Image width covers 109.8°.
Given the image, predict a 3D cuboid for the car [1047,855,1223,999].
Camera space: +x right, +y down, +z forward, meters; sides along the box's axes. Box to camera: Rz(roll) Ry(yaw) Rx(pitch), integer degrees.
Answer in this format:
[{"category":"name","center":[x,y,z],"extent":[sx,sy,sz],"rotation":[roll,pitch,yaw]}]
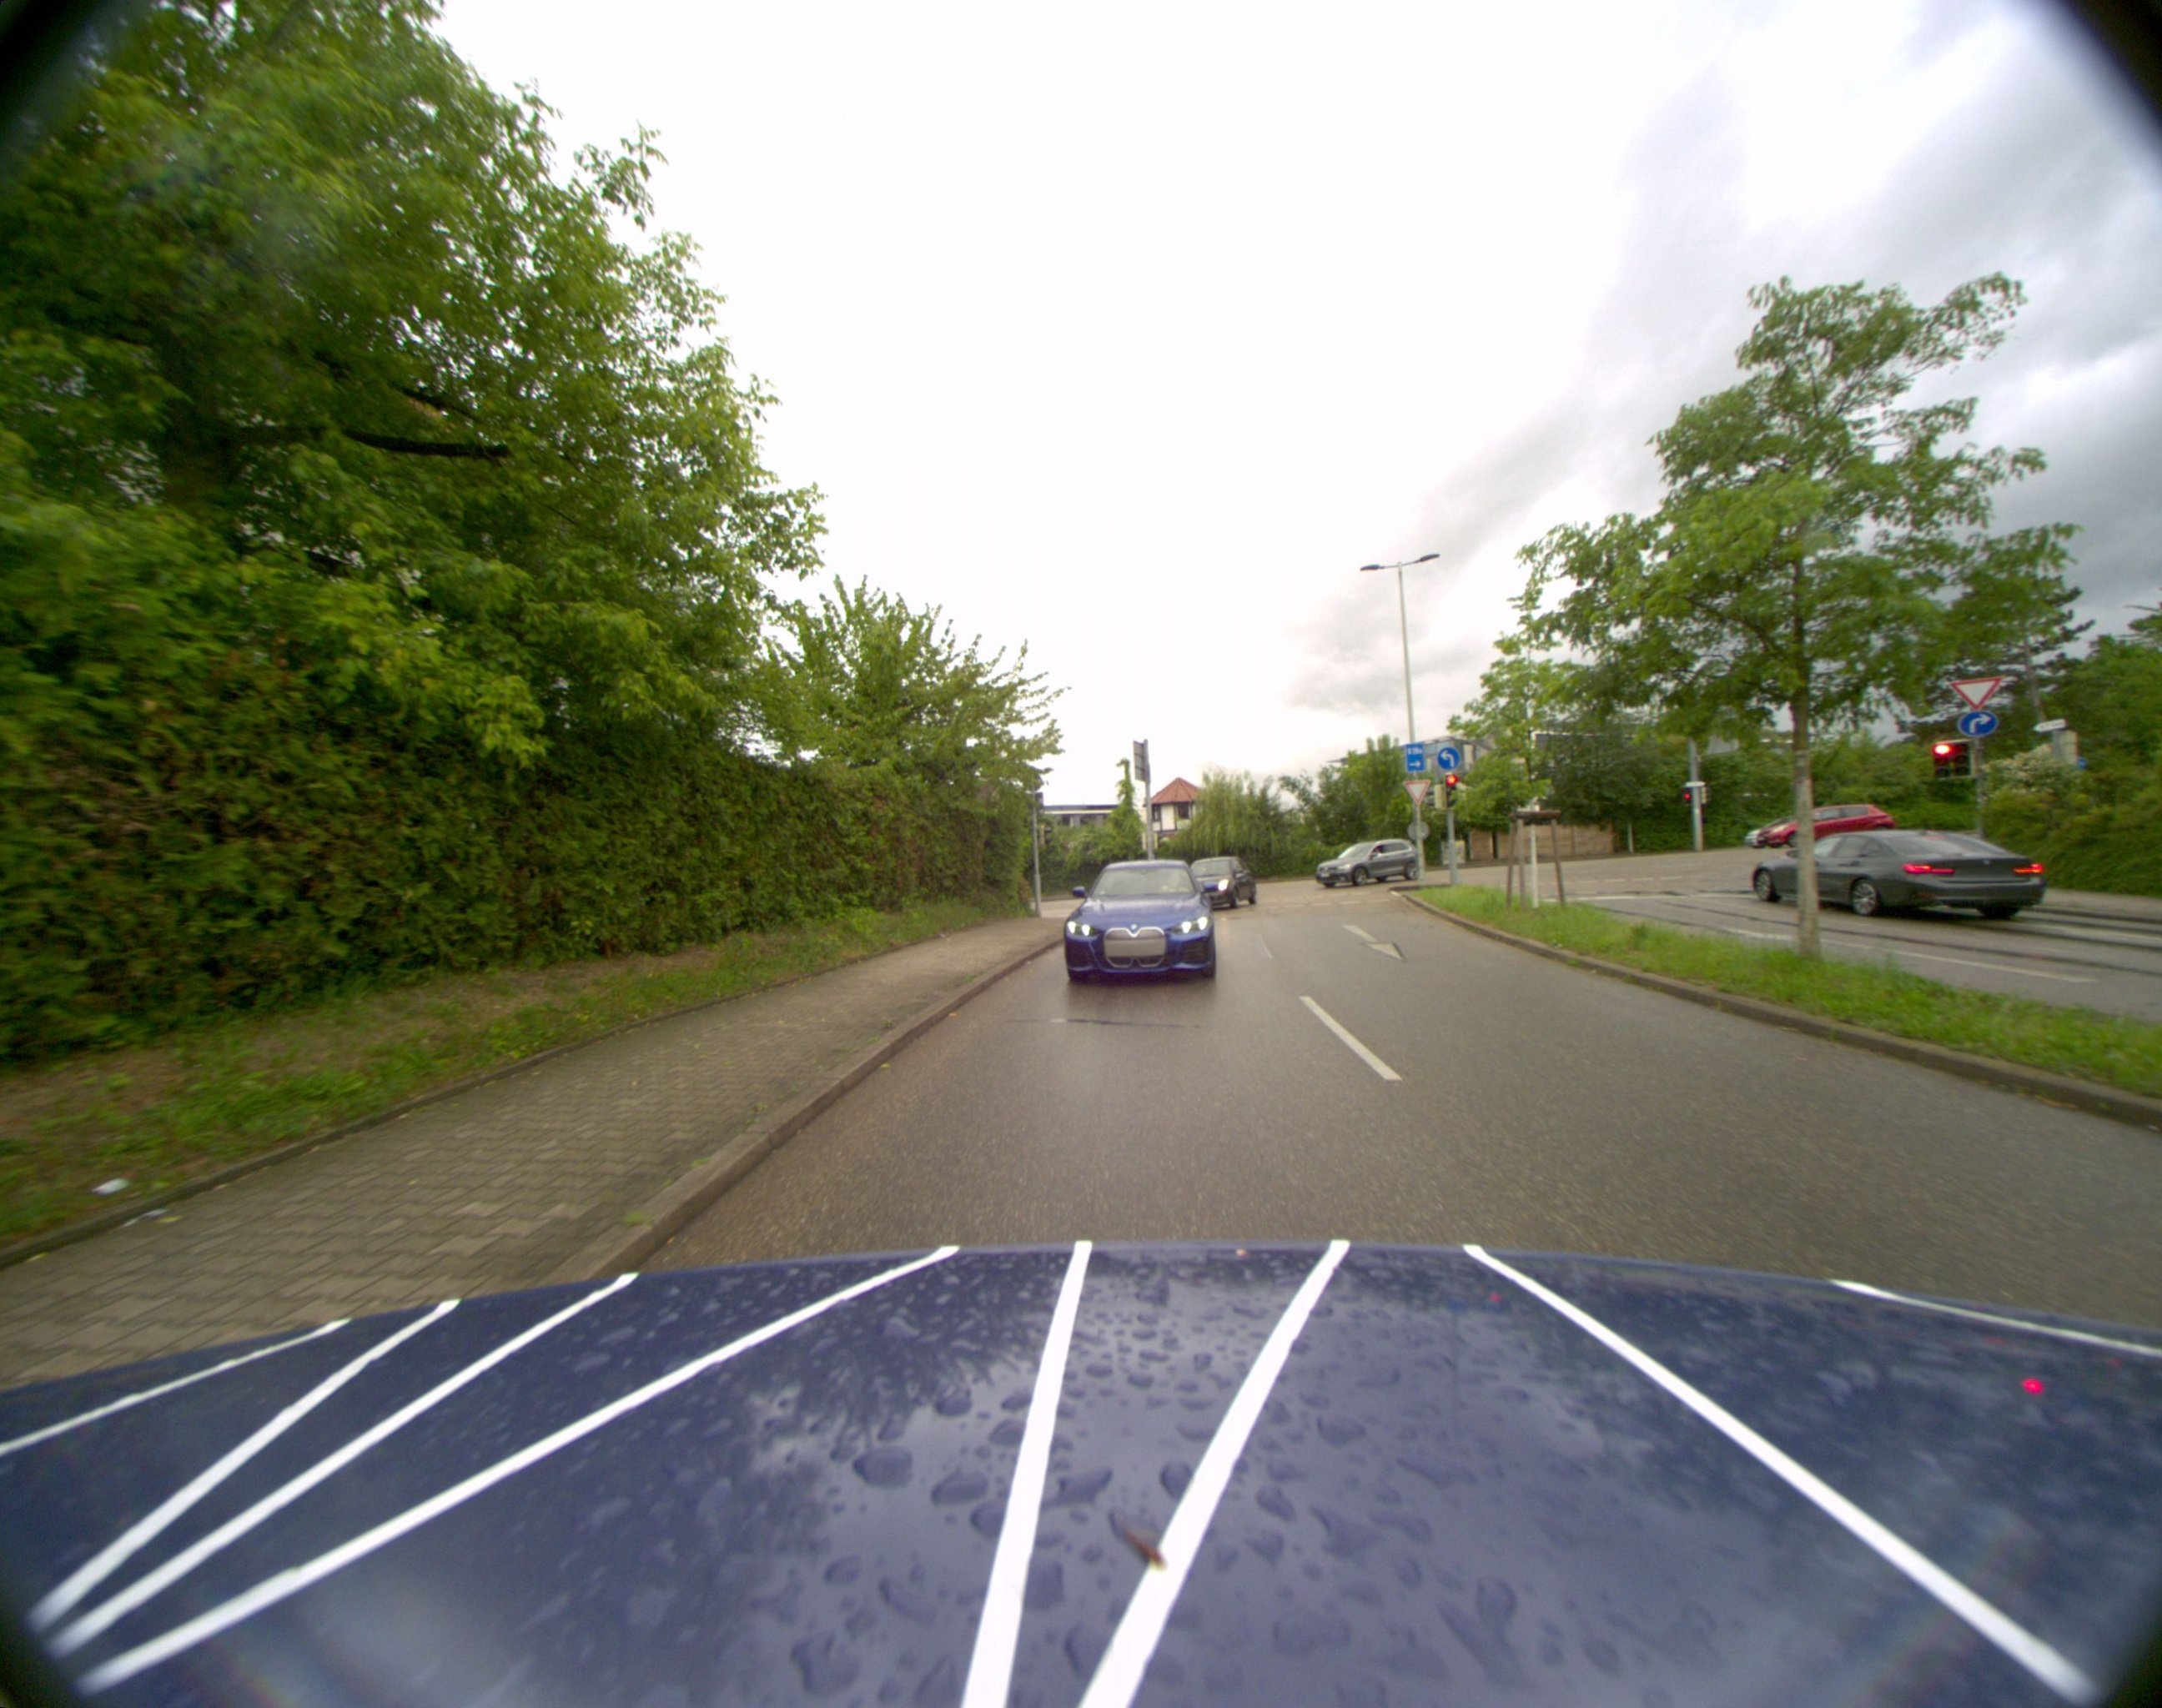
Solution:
[{"category":"car","center":[0.962,0.846,10.794],"extent":[1.912,1.487,4.351],"rotation":[-4,0,10]}]

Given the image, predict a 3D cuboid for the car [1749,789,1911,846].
[{"category":"car","center":[29.237,-1.392,29.818],"extent":[3.992,1.715,1.872],"rotation":[-6,-1,20]}]

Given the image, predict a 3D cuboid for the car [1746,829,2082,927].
[{"category":"car","center":[14.284,0.352,13.531],"extent":[1.996,1.429,4.554],"rotation":[0,0,17]}]

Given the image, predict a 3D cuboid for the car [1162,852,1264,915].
[{"category":"car","center":[3.958,0.795,22.291],"extent":[1.743,1.510,4.007],"rotation":[-6,-2,27]}]

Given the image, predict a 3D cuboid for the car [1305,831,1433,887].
[{"category":"car","center":[11.259,0.206,29.716],"extent":[4.310,1.739,1.966],"rotation":[-5,-1,-20]}]
